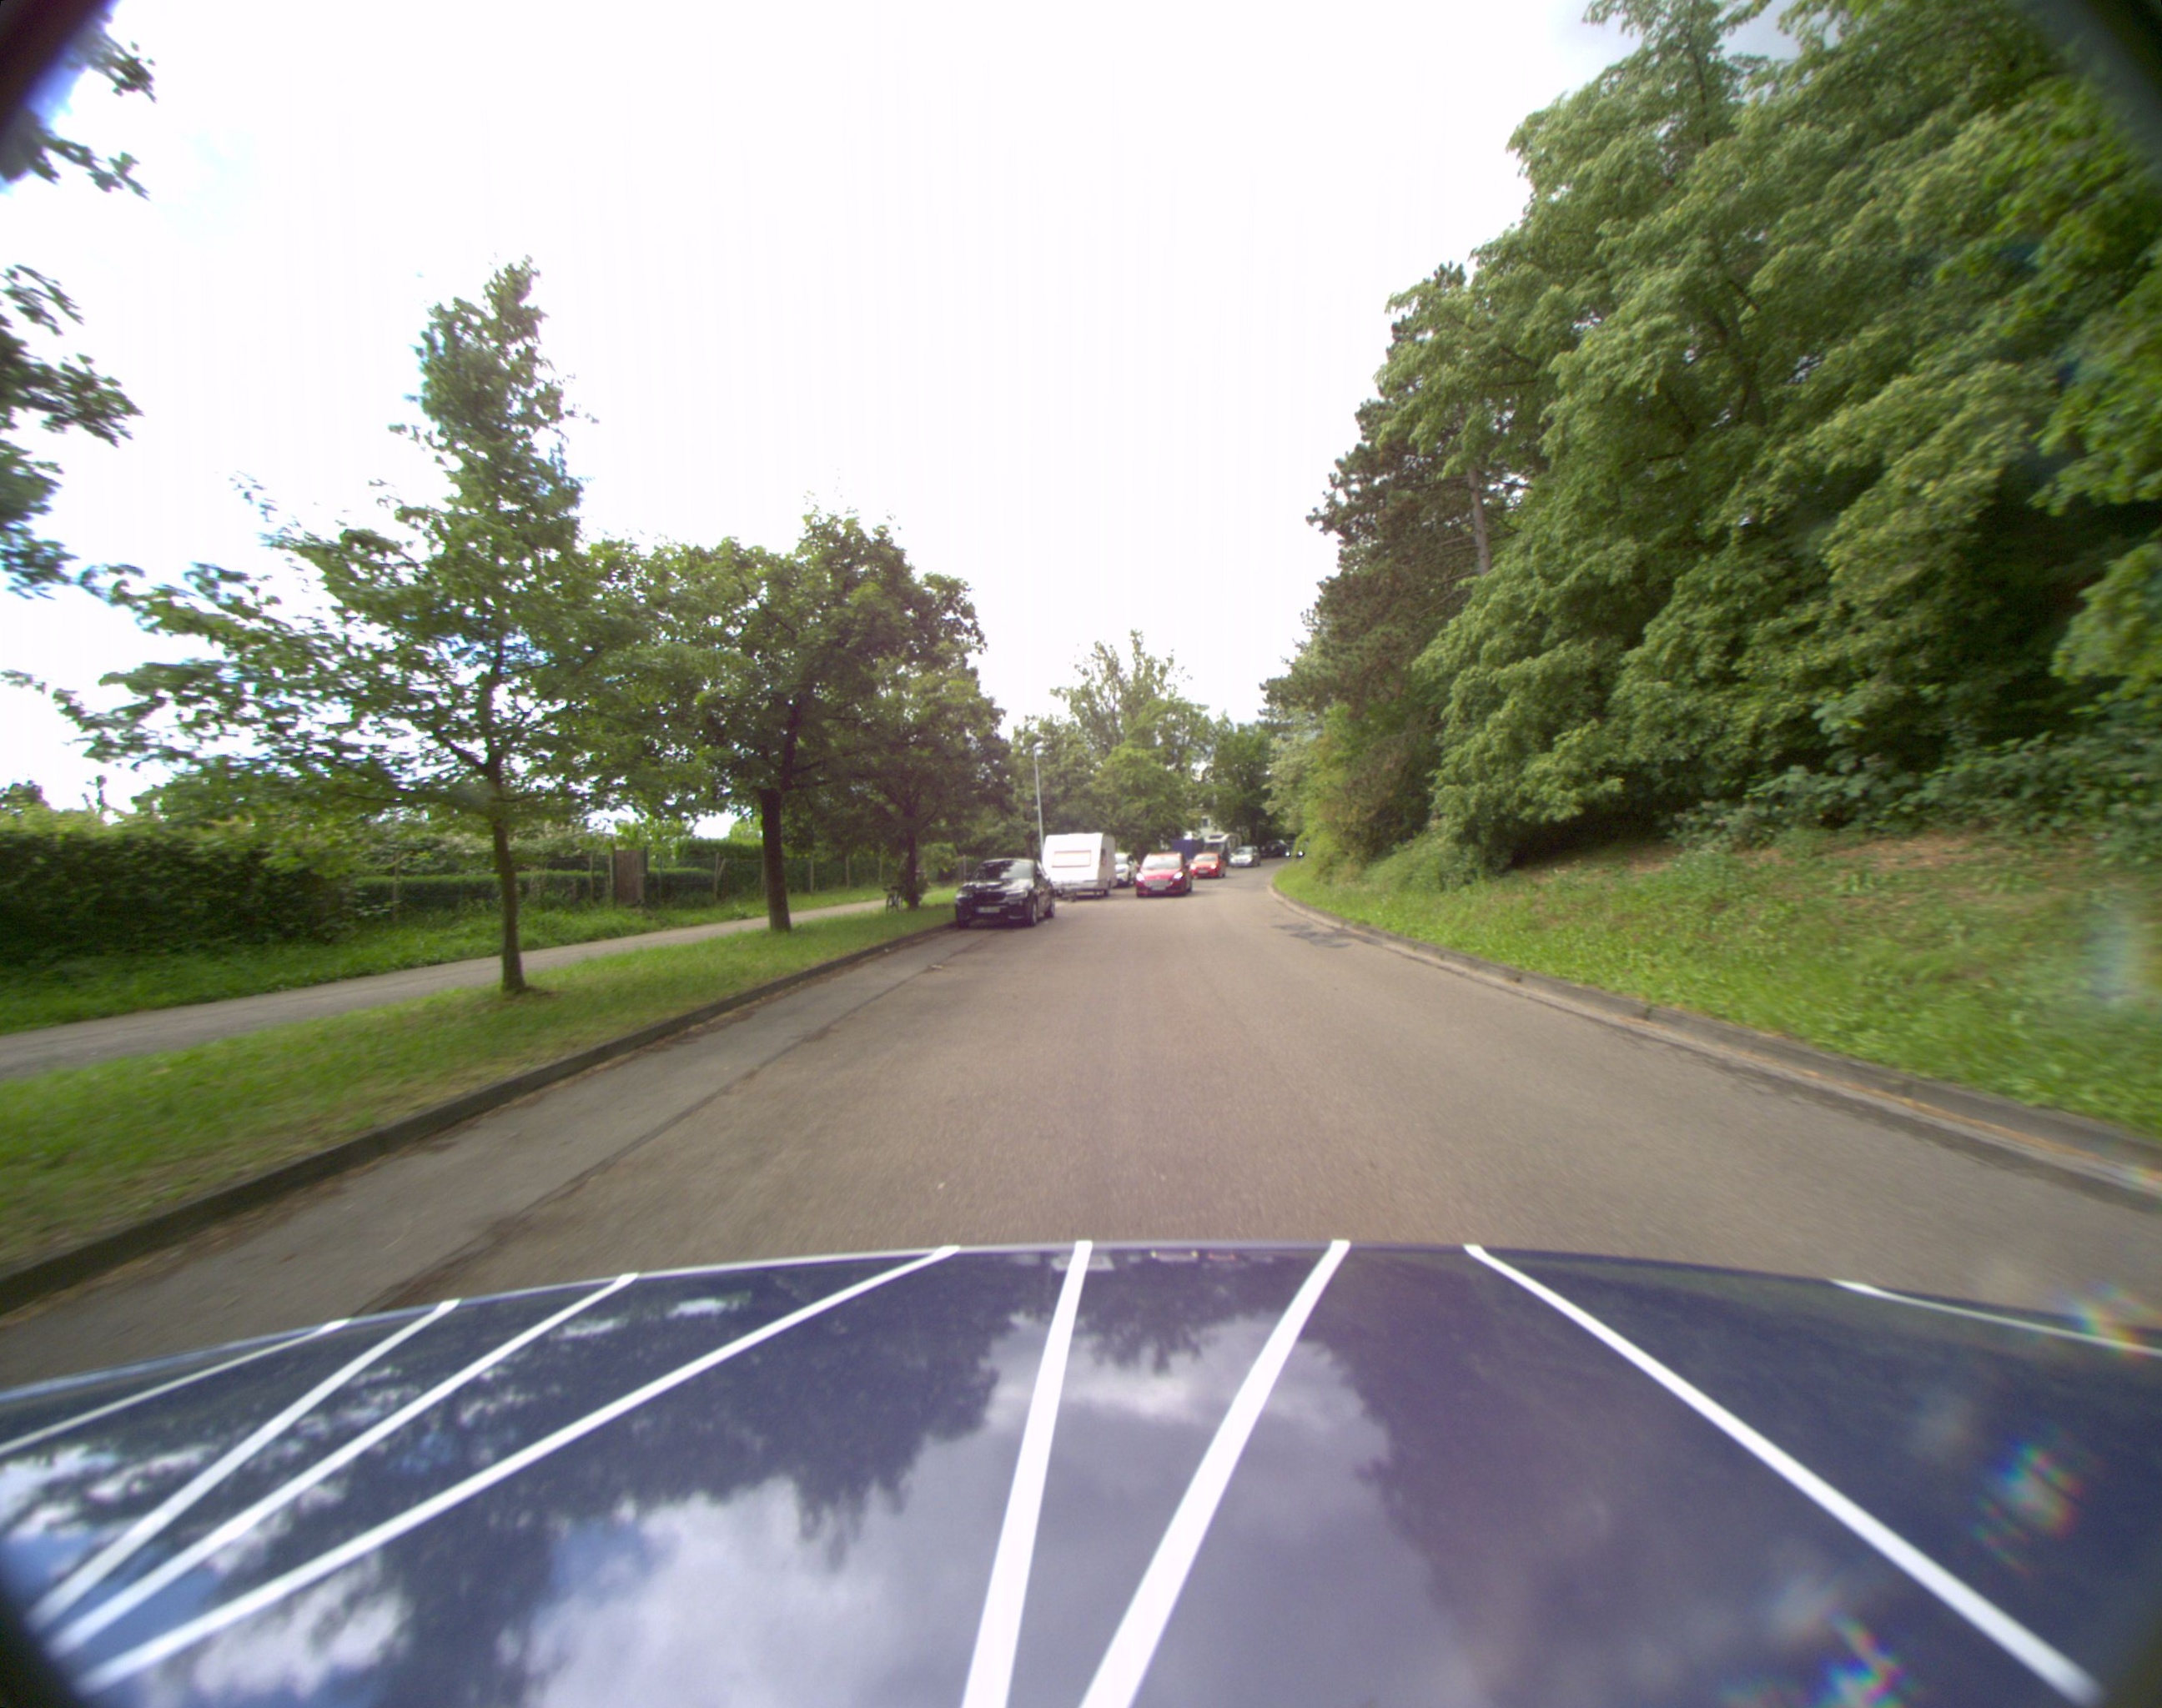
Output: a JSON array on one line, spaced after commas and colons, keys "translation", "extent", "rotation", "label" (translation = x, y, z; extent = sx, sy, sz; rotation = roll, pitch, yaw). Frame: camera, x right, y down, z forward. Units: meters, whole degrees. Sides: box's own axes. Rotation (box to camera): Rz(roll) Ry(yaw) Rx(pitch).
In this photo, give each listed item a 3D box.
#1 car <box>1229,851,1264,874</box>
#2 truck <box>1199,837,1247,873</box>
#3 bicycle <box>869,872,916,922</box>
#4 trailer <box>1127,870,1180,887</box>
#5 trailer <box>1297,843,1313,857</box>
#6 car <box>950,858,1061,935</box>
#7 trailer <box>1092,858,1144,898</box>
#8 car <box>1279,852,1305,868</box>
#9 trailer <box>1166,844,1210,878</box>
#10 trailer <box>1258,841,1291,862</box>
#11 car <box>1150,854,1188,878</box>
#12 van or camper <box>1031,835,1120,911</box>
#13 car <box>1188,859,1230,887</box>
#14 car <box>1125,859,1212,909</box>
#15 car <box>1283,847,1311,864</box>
[{"translation": [13.447, 0.644, 61.494], "extent": [1.919, 1.672, 4.006], "rotation": [-1, 2, 25], "label": "car"}, {"translation": [12.542, 0.037, 66.615], "extent": [2.305, 2.916, 7.044], "rotation": [-1, 1, 25], "label": "truck"}, {"translation": [-5.379, 1.214, 21.812], "extent": [0.535, 1.209, 2.185], "rotation": [-3, 2, 6], "label": "bicycle"}, {"translation": [4.508, 1.456, 46.399], "extent": [2.107, 0.647, 6.408], "rotation": [-3, 0, 16], "label": "trailer"}, {"translation": [28.123, -0.488, 95.326], "extent": [1.375, 1.595, 2.271], "rotation": [-3, 0, 29], "label": "trailer"}, {"translation": [-1.750, 0.960, 19.239], "extent": [1.852, 1.633, 4.532], "rotation": [-2, 0, 6], "label": "car"}, {"translation": [1.936, 1.148, 38.324], "extent": [1.775, 1.721, 4.654], "rotation": [-1, 1, 13], "label": "trailer"}, {"translation": [24.806, 0.691, 89.293], "extent": [1.842, 1.675, 4.609], "rotation": [-2, 0, 29], "label": "car"}, {"translation": [8.023, 0.543, 56.605], "extent": [2.108, 2.347, 4.709], "rotation": [-1, -1, 23], "label": "trailer"}, {"translation": [21.557, -0.280, 84.272], "extent": [1.995, 1.922, 5.902], "rotation": [-2, 2, 29], "label": "trailer"}, {"translation": [6.094, 0.816, 52.141], "extent": [1.731, 1.513, 3.410], "rotation": [-3, -1, 21], "label": "car"}, {"translation": [-0.045, 0.638, 29.328], "extent": [2.165, 2.521, 6.036], "rotation": [-3, 0, 11], "label": "van or camper"}, {"translation": [7.532, 1.080, 44.472], "extent": [1.864, 1.440, 4.181], "rotation": [-2, 0, 17], "label": "car"}, {"translation": [3.520, 1.131, 29.753], "extent": [1.995, 1.619, 4.633], "rotation": [-3, 0, 24], "label": "car"}, {"translation": [22.697, 0.145, 79.673], "extent": [1.765, 1.509, 4.006], "rotation": [-3, 1, 32], "label": "car"}]
